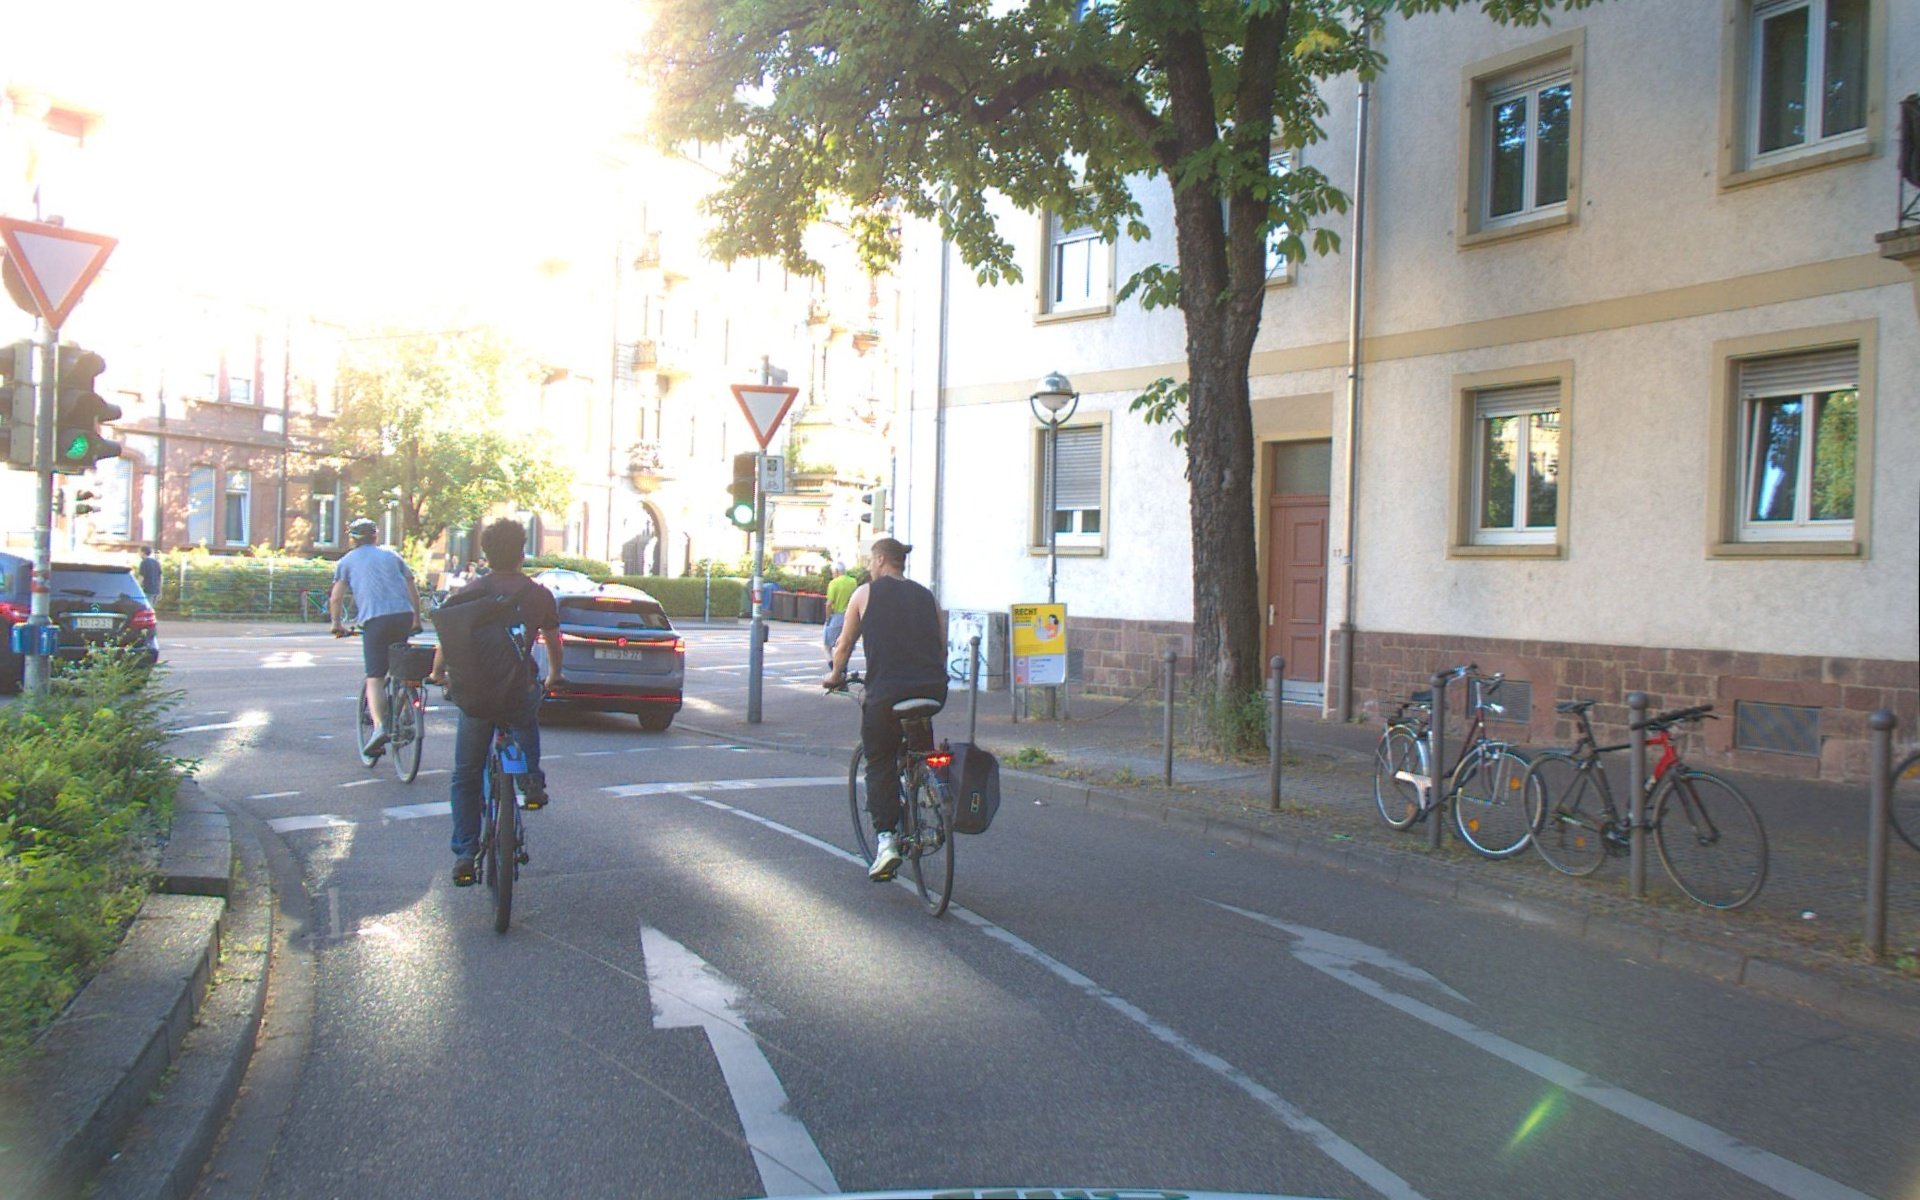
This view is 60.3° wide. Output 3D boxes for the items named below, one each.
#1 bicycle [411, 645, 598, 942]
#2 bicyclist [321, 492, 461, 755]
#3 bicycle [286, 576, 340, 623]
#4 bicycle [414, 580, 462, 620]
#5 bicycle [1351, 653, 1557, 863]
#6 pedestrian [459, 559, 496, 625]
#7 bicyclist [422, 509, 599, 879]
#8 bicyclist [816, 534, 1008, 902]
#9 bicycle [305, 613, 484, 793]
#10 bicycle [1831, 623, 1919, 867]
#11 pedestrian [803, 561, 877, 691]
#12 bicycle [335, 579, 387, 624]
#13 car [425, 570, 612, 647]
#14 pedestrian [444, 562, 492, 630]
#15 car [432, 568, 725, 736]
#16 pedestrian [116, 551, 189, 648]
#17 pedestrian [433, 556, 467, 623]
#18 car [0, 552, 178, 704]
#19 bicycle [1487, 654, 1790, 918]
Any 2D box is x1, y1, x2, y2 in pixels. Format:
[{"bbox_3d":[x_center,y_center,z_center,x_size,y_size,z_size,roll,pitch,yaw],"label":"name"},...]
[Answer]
[{"bbox_3d":[-2.112,0.822,7.749,0.705,1.126,1.959,2,0,-15],"label":"bicycle"},{"bbox_3d":[-4.423,0.172,12.827,0.786,1.946,0.935,2,0,-32],"label":"bicyclist"},{"bbox_3d":[-16.060,-0.011,41.073,0.434,1.126,1.231,3,1,31],"label":"bicycle"},{"bbox_3d":[-14.048,-0.002,44.558,0.433,1.056,1.231,3,1,30],"label":"bicycle"},{"bbox_3d":[2.992,0.918,10.175,0.472,1.082,1.630,-1,2,-13],"label":"bicycle"},{"bbox_3d":[-12.853,-0.210,44.075,0.651,1.745,0.633,2,0,38],"label":"pedestrian"},{"bbox_3d":[-2.086,0.413,7.706,0.695,1.601,0.953,2,0,-15],"label":"bicyclist"},{"bbox_3d":[-0.256,0.536,8.144,0.676,1.685,0.984,1,0,-19],"label":"bicyclist"},{"bbox_3d":[-4.406,0.740,12.765,0.802,1.205,2.202,2,0,-32],"label":"bicycle"},{"bbox_3d":[5.576,0.794,8.670,0.704,1.299,1.961,0,1,-12],"label":"bicycle"},{"bbox_3d":[-1.667,0.342,22.886,0.638,1.757,0.876,-1,1,-38],"label":"pedestrian"},{"bbox_3d":[-15.313,0.044,42.282,0.434,1.126,1.231,3,1,31],"label":"bicycle"},{"bbox_3d":[-10.525,0.207,39.746,1.904,1.679,4.406,2,0,26],"label":"car"},{"bbox_3d":[-12.705,-0.108,42.702,0.700,1.693,0.892,5,2,42],"label":"pedestrian"},{"bbox_3d":[-4.507,0.527,19.003,1.950,1.613,4.429,4,-1,-31],"label":"car"},{"bbox_3d":[-14.447,-0.022,29.596,0.884,1.663,0.725,4,1,-6],"label":"pedestrian"},{"bbox_3d":[-13.621,-0.276,44.162,0.511,1.745,0.633,2,0,38],"label":"pedestrian"},{"bbox_3d":[-10.777,0.263,18.824,3.781,1.569,1.789,0,1,35],"label":"car"},{"bbox_3d":[3.452,0.894,8.587,0.517,1.126,1.734,-1,1,-15],"label":"bicycle"}]
